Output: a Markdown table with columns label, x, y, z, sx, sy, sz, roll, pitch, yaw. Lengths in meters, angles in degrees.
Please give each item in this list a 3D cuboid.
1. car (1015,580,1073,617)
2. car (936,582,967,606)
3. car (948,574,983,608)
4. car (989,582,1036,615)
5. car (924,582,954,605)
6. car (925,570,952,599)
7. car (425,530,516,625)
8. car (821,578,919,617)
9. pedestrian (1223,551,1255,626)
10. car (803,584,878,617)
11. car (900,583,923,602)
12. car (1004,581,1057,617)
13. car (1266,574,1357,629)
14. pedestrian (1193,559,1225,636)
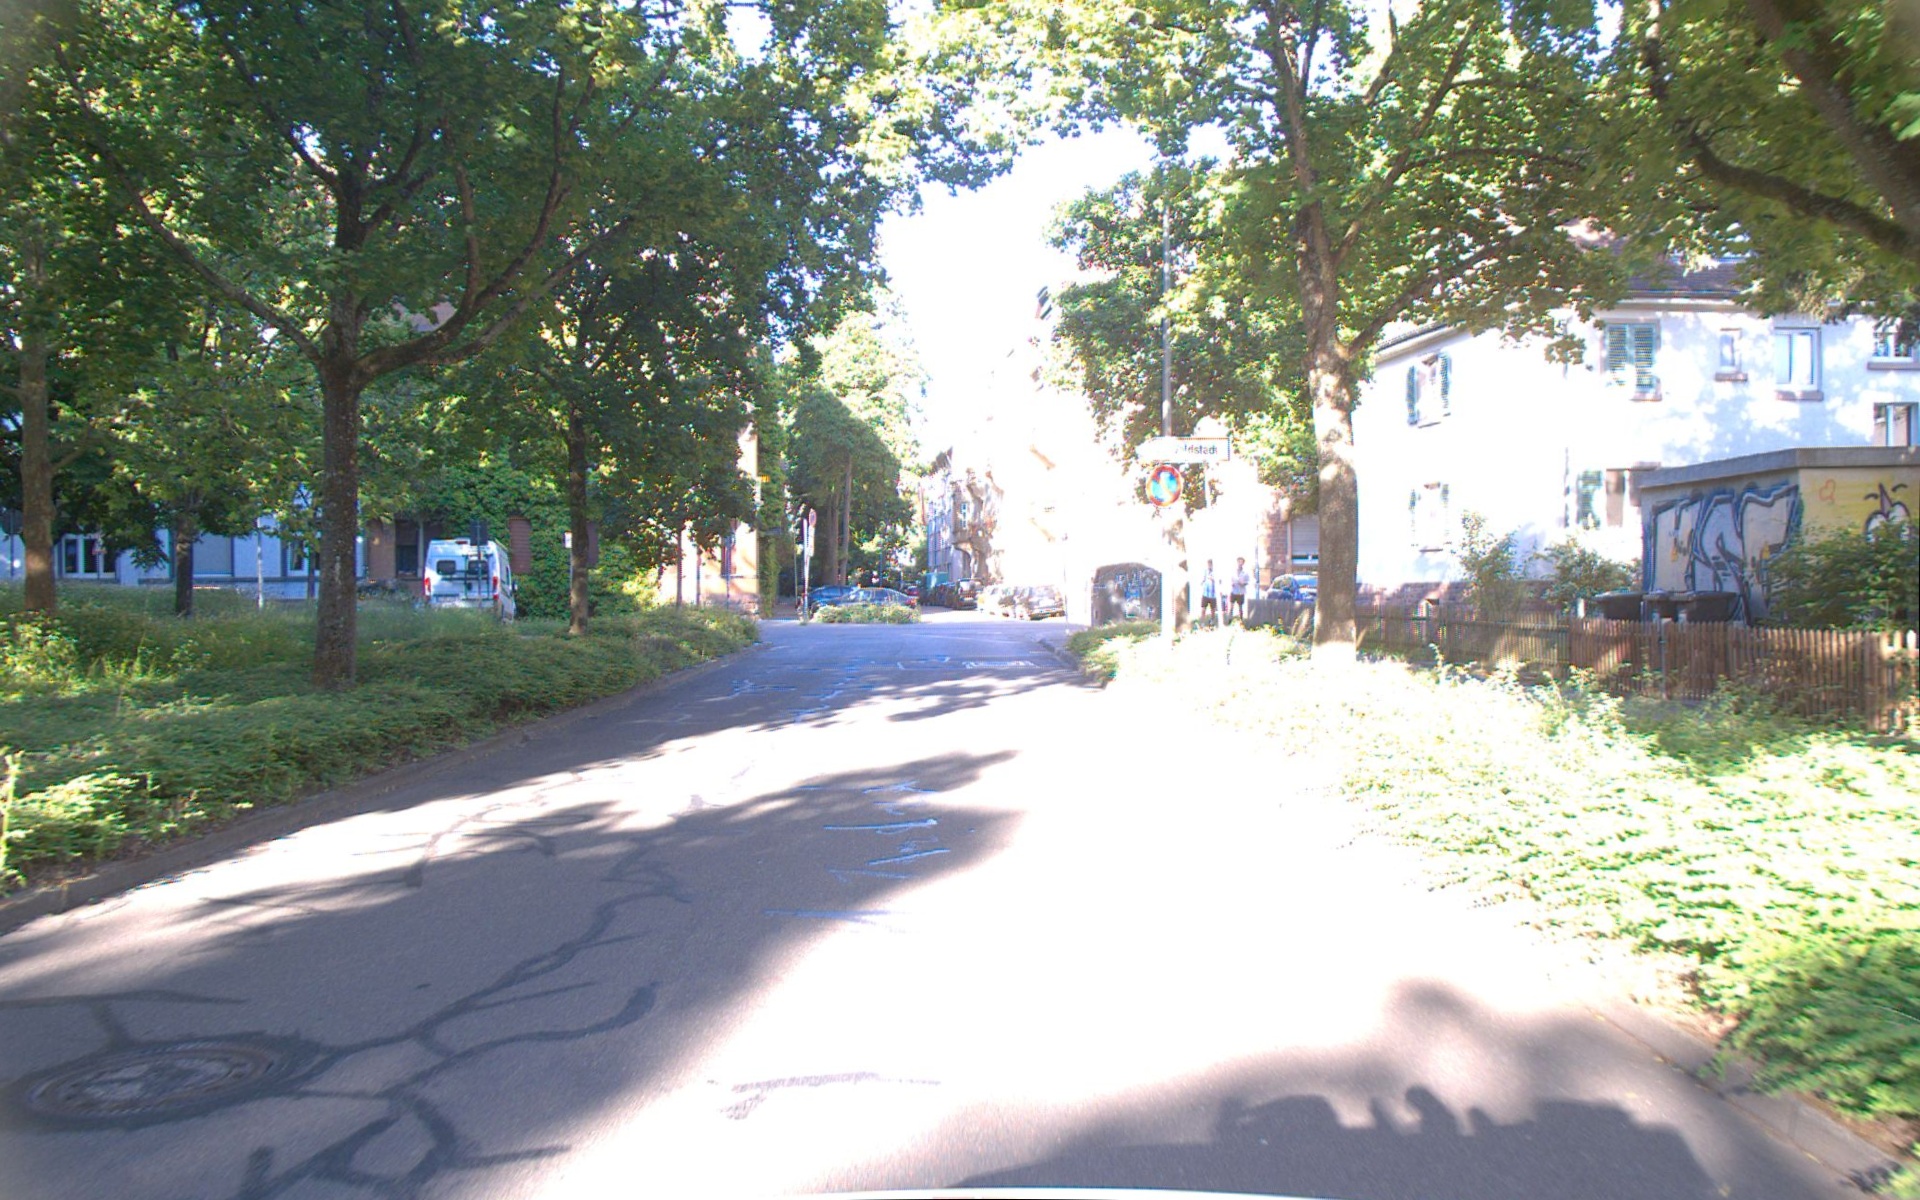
| label | x | y | z | sx | sy | sz | roll | pitch | yaw |
| --- | --- | --- | --- | --- | --- | --- | --- | --- | --- |
| car | 3.560 | -0.083 | 70.741 | 1.777 | 1.527 | 3.993 | -1 | 1 | -8 |
| car | -0.580 | -0.408 | 107.490 | 1.775 | 1.527 | 3.997 | 1 | 1 | -4 |
| car | 0.296 | -0.558 | 99.361 | 1.775 | 1.959 | 3.997 | 1 | 0 | -4 |
| car | 2.583 | -0.092 | 82.382 | 1.855 | 1.601 | 3.996 | 1 | 1 | -5 |
| car | -1.463 | -0.448 | 114.017 | 1.775 | 1.527 | 3.997 | 1 | 1 | -4 |
| car | -1.647 | -1.170 | 124.223 | 1.775 | 2.086 | 3.997 | 1 | 0 | -4 |
| car | -13.837 | -0.626 | 46.975 | 1.957 | 2.552 | 3.992 | 1 | 0 | -9 |
| car | -3.760 | -0.099 | 68.618 | 3.912 | 1.527 | 1.814 | 1 | 0 | -9 |
| pedestrian | 7.132 | -0.299 | 42.240 | 0.604 | 1.903 | 0.694 | 1 | 0 | -8 |
| car | -5.771 | 0.017 | 79.845 | 3.520 | 1.536 | 1.497 | 1 | 0 | -9 |
| car | -4.134 | -0.634 | 141.161 | 1.775 | 1.527 | 3.997 | 1 | 1 | -4 |
| car | 3.235 | -0.052 | 76.798 | 1.955 | 1.601 | 3.996 | 1 | 1 | -5 |
| car | 10.763 | 0.023 | 50.896 | 1.953 | 1.612 | 3.639 | 1 | 0 | -1 |
| pedestrian | 6.298 | -0.068 | 41.810 | 0.604 | 1.903 | 0.694 | 1 | 0 | -8 |
